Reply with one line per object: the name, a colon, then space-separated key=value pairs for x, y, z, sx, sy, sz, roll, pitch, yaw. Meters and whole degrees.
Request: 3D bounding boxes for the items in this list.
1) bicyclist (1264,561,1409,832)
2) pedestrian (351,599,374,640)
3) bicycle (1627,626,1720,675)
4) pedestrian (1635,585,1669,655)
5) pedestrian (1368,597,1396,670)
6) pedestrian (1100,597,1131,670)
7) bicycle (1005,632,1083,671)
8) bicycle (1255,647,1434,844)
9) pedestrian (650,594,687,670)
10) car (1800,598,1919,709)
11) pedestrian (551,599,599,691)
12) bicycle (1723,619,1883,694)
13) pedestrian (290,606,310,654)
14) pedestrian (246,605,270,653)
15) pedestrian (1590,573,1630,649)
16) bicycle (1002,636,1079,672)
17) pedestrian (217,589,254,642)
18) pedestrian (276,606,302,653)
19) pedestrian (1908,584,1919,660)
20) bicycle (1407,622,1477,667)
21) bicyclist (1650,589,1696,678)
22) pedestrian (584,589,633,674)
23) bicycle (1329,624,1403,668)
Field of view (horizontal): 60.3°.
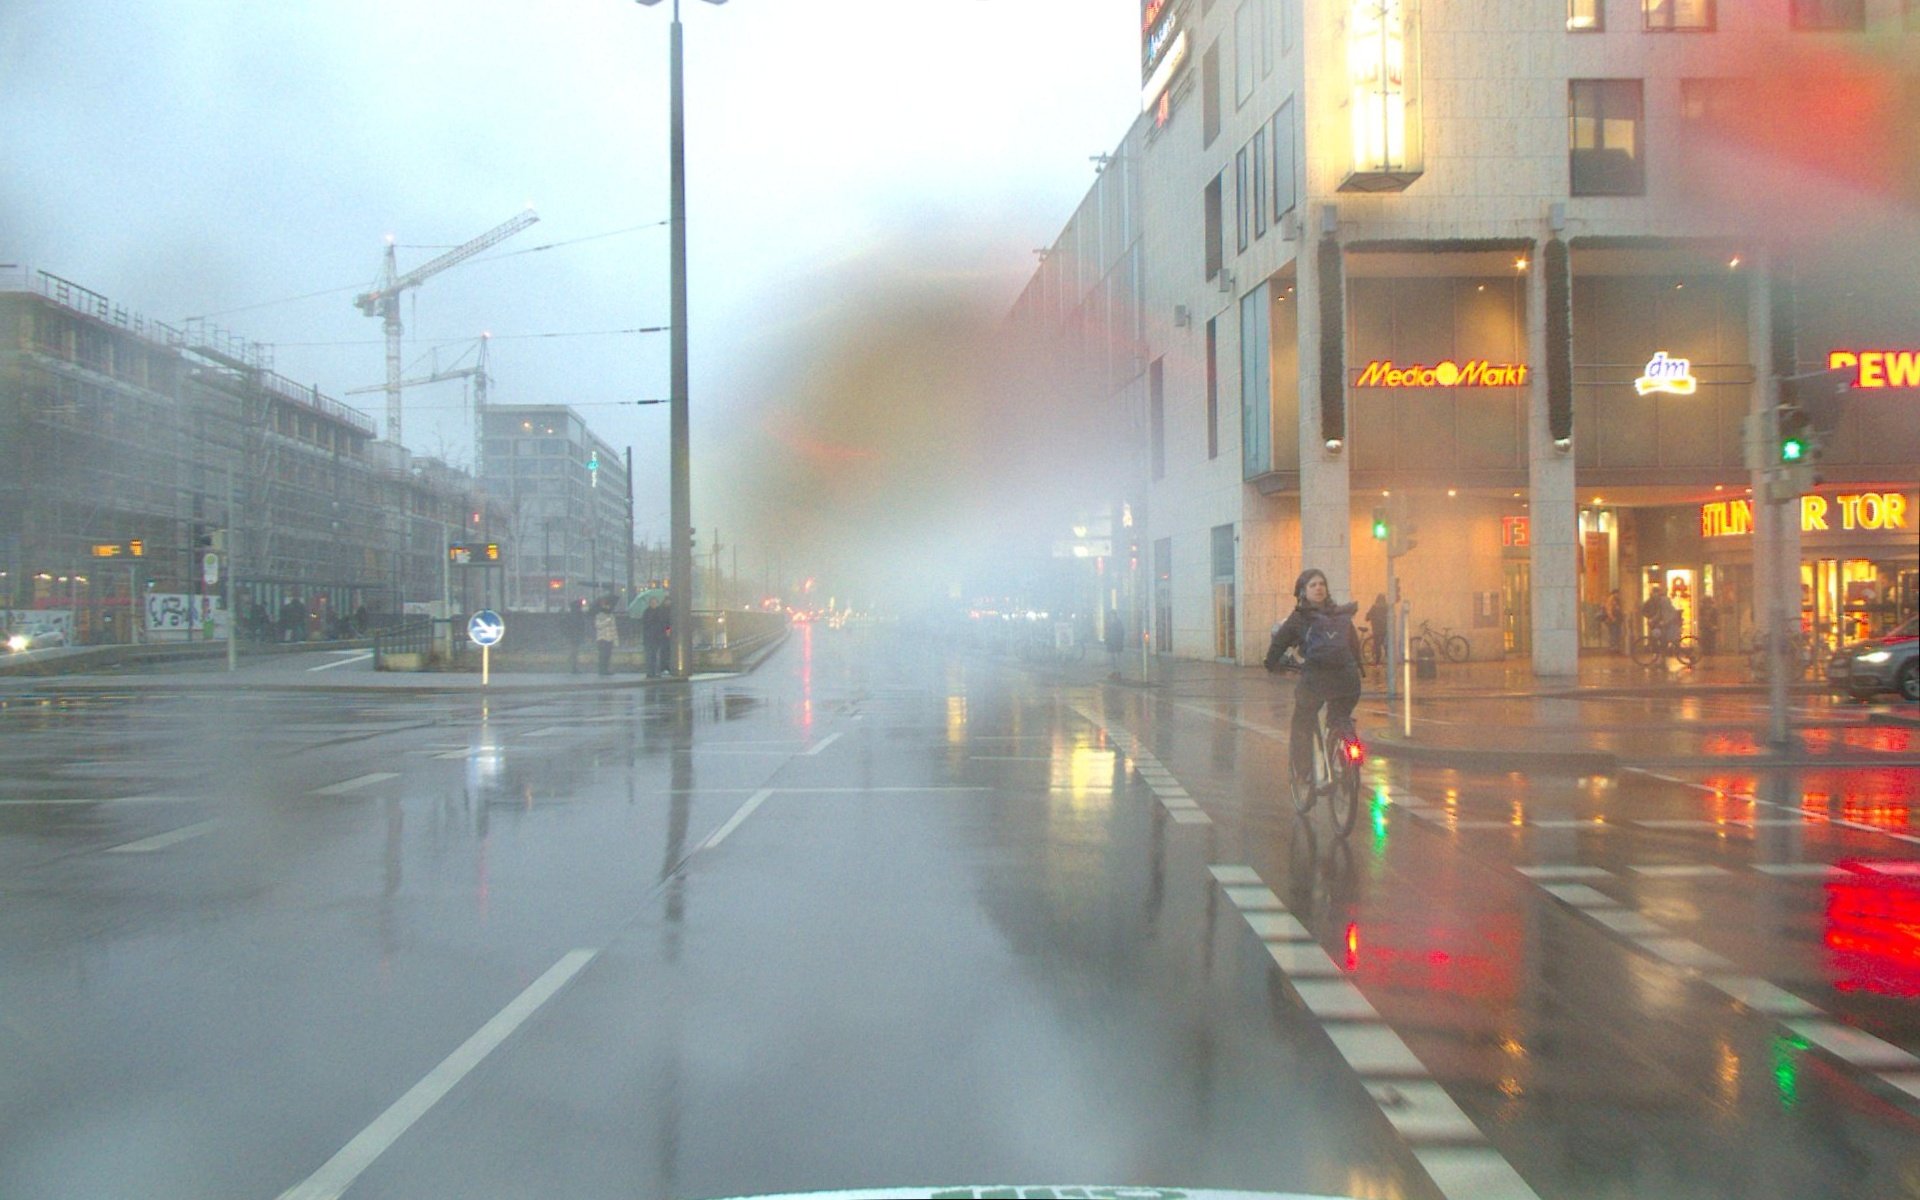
bicyclist: x=2.451 y=0.599 z=10.850 sx=0.688 sy=1.689 sz=0.964 roll=-1 pitch=0 yaw=-2
pedestrian: x=-29.821 y=0.976 z=82.546 sx=0.926 sy=2.049 sz=1.090 roll=1 pitch=-1 yaw=-13
bicycle: x=16.693 y=1.185 z=38.750 sx=1.919 sy=1.105 sz=0.927 roll=-1 pitch=0 yaw=19
pedestrian: x=17.643 y=0.511 z=42.165 sx=0.720 sy=1.748 sz=0.738 roll=-2 pitch=-1 yaw=25
pedestrian: x=10.351 y=0.822 z=40.573 sx=0.587 sy=1.775 sz=0.525 roll=1 pitch=-1 yaw=6
pedestrian: x=3.729 y=0.807 z=39.736 sx=0.624 sy=1.739 sz=0.573 roll=-1 pitch=-1 yaw=-3
bicycle: x=2.650 y=1.631 z=52.195 sx=2.394 sy=1.174 sz=0.674 roll=-1 pitch=-1 yaw=-4
bicycle: x=2.462 y=0.895 z=10.797 sx=0.694 sy=1.113 sz=1.783 roll=0 pitch=0 yaw=-2
pedestrian: x=-6.666 y=0.724 z=37.800 sx=0.601 sy=1.715 sz=0.575 roll=0 pitch=-1 yaw=40
car: x=15.533 y=0.836 z=25.767 sx=3.906 sy=1.646 sz=1.999 roll=1 pitch=-1 yaw=-1
pedestrian: x=-8.729 y=1.015 z=37.466 sx=0.771 sy=2.049 sz=0.724 roll=0 pitch=-1 yaw=40
bicycle: x=16.380 y=1.093 z=32.167 sx=2.660 sy=1.383 sz=0.956 roll=-1 pitch=-1 yaw=-6
pedestrian: x=-27.913 y=1.278 z=69.940 sx=0.559 sy=2.002 sz=0.664 roll=2 pitch=-1 yaw=-8
pedestrian: x=-28.151 y=1.157 z=66.332 sx=0.684 sy=1.914 sz=0.553 roll=1 pitch=-1 yaw=-3
pedestrian: x=17.848 y=0.297 z=45.411 sx=0.828 sy=2.049 sz=0.698 roll=-1 pitch=0 yaw=6
bicycle: x=2.560 y=1.724 z=52.956 sx=2.377 sy=1.118 sz=0.711 roll=-1 pitch=-1 yaw=-4
pedestrian: x=-28.522 y=0.613 z=65.107 sx=0.922 sy=2.049 sz=1.094 roll=1 pitch=-1 yaw=1
pedestrian: x=-27.885 y=1.221 z=68.744 sx=0.750 sy=1.931 sz=0.762 roll=1 pitch=-2 yaw=-3
pedestrian: x=22.221 y=0.501 z=37.465 sx=1.009 sy=1.713 sz=0.823 roll=1 pitch=-1 yaw=-3
bicycle: x=12.146 y=1.117 z=41.709 sx=1.615 sy=1.088 sz=0.524 roll=1 pitch=-1 yaw=-6
bicyclist: x=16.693 y=0.782 z=38.750 sx=0.903 sy=2.049 sz=0.907 roll=-1 pitch=0 yaw=21
pedestrian: x=-7.795 y=0.697 z=36.688 sx=0.813 sy=1.864 sz=0.777 roll=1 pitch=-1 yaw=-33
bicycle: x=10.191 y=1.158 z=41.496 sx=1.735 sy=1.088 sz=0.523 roll=1 pitch=-1 yaw=-11
